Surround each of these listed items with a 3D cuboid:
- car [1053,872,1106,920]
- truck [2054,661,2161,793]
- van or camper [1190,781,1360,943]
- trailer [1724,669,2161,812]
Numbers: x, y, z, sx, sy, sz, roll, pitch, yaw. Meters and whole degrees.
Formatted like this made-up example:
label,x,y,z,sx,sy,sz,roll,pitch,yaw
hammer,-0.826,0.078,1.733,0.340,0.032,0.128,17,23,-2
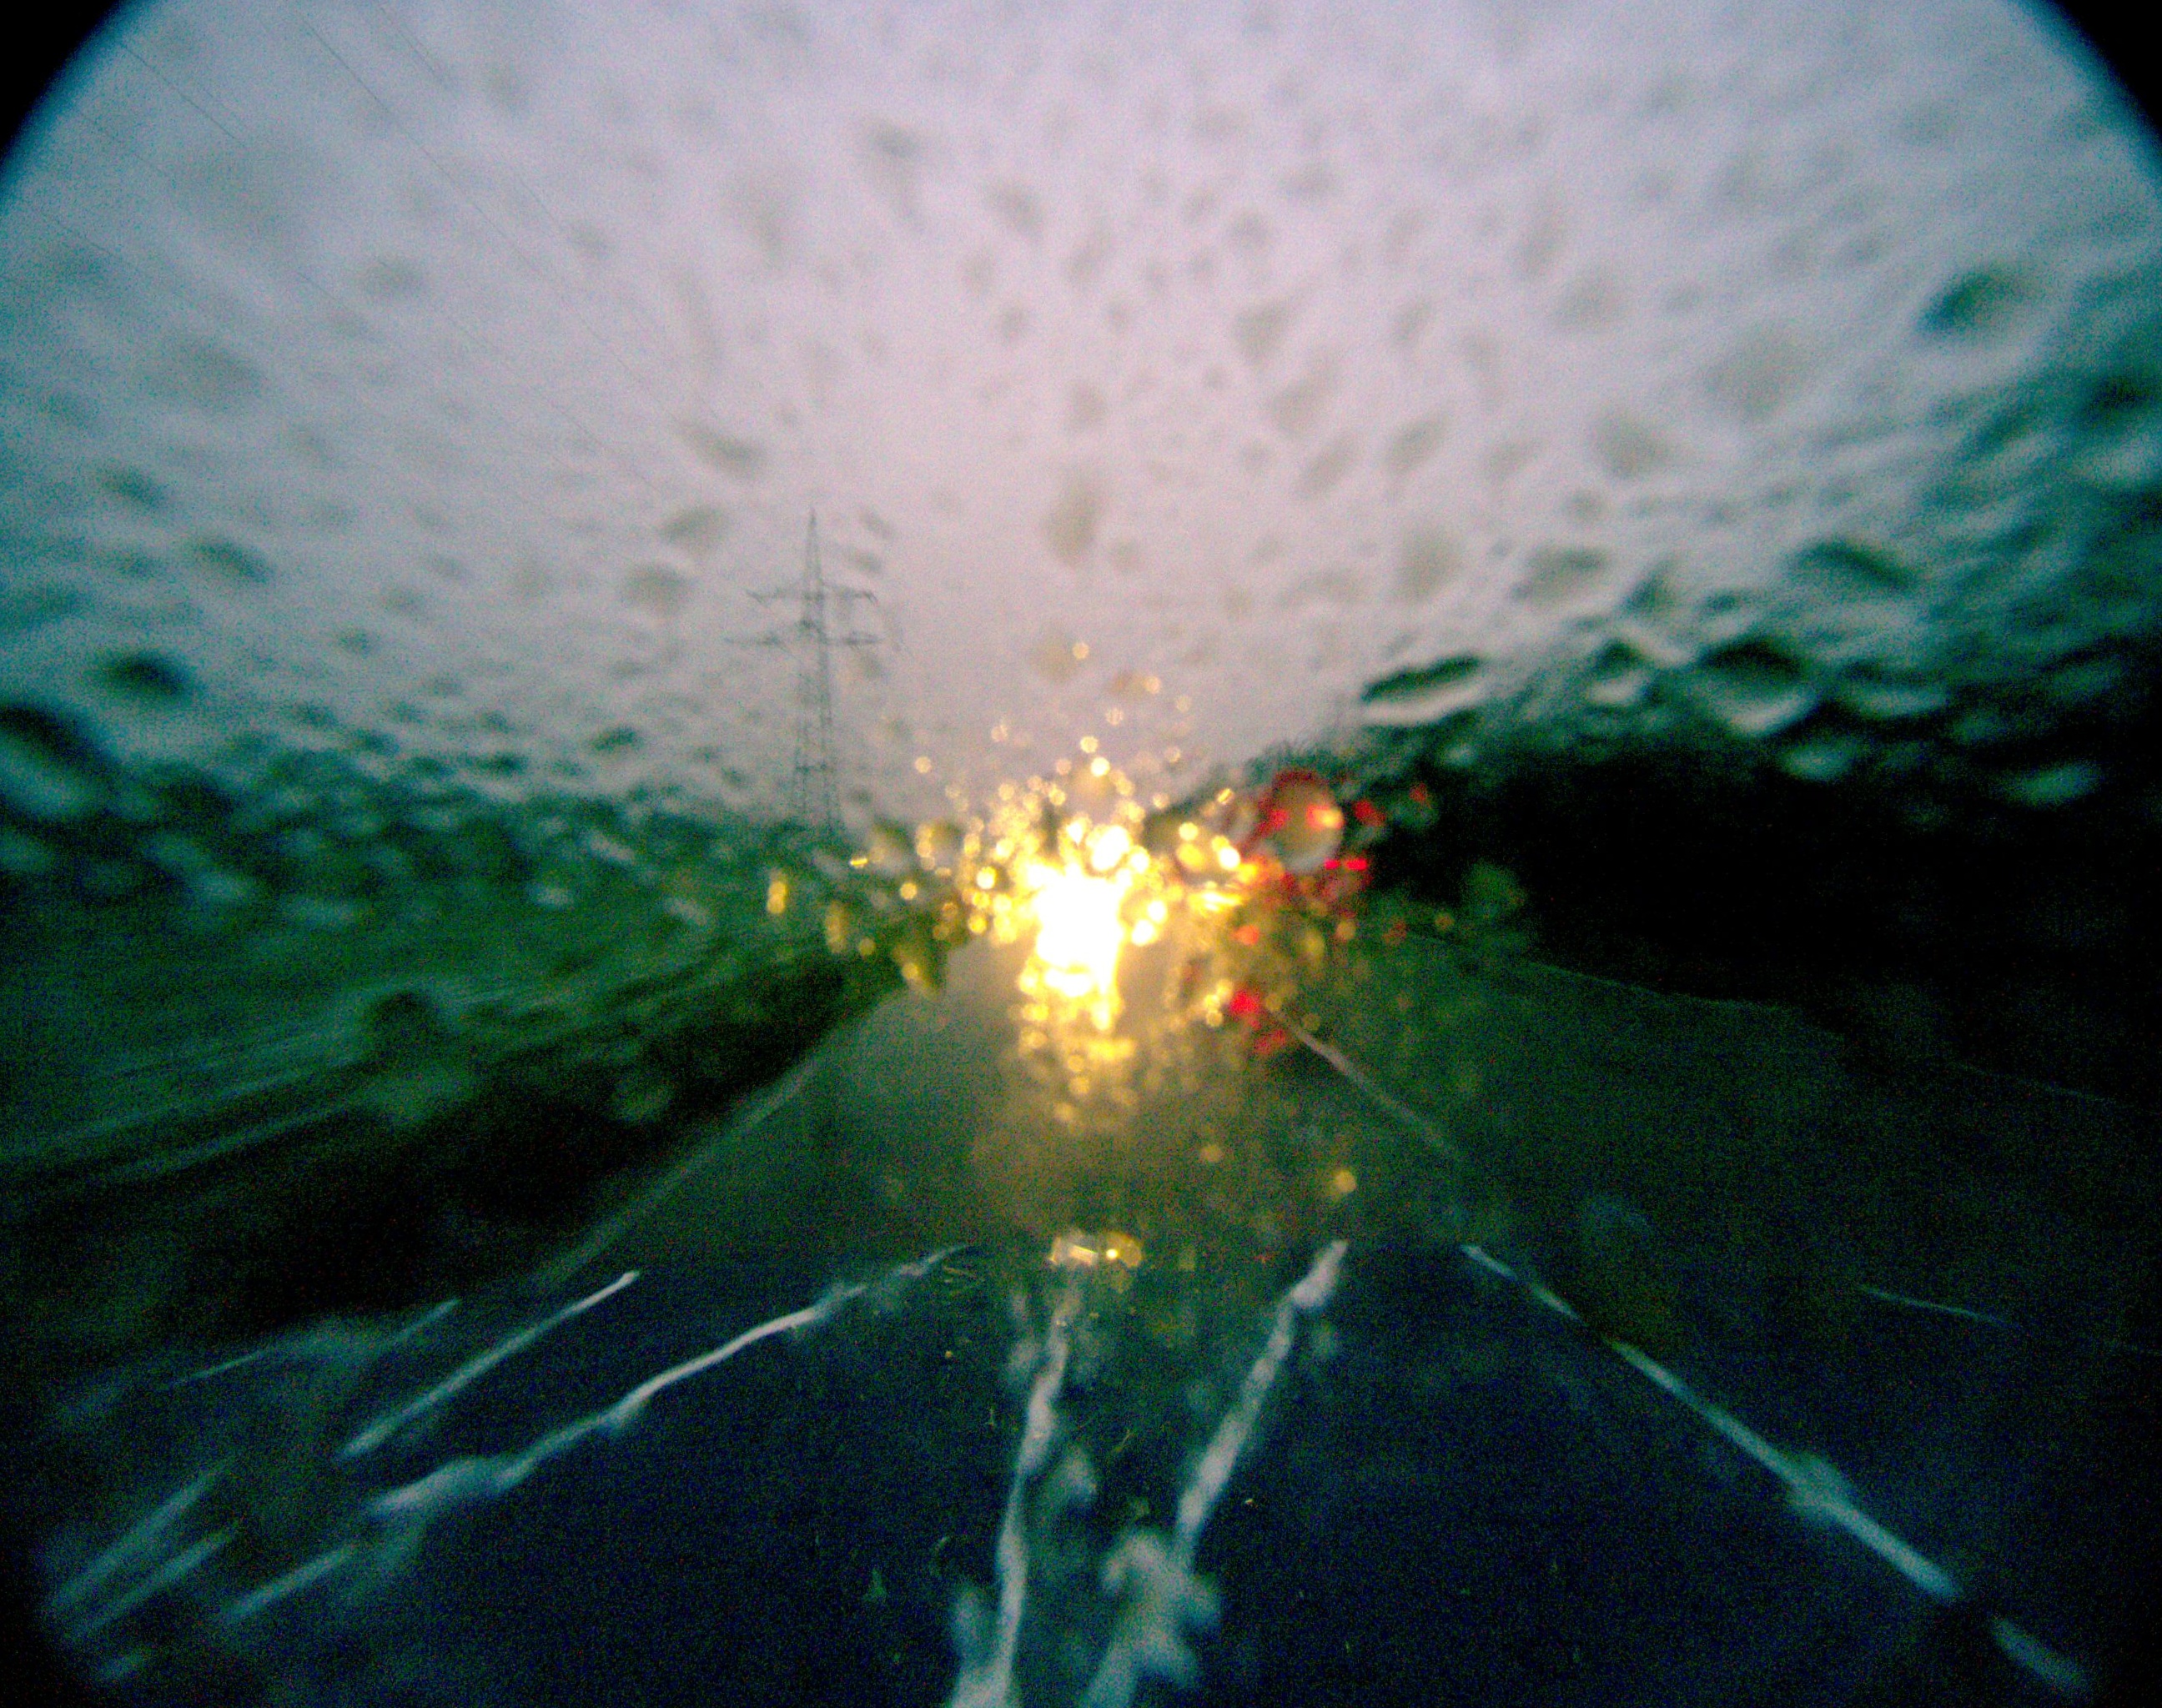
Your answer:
label,x,y,z,sx,sy,sz,roll,pitch,yaw
car,0.018,1.637,30.776,1.910,1.653,4.001,-1,0,3
truck,26.006,-3.011,16.568,2.456,2.870,5.583,-1,0,0
van or camper,3.816,0.123,16.423,2.026,2.760,6.743,-1,0,1
trailer,26.060,-3.052,23.828,2.442,2.874,11.084,-1,0,0
